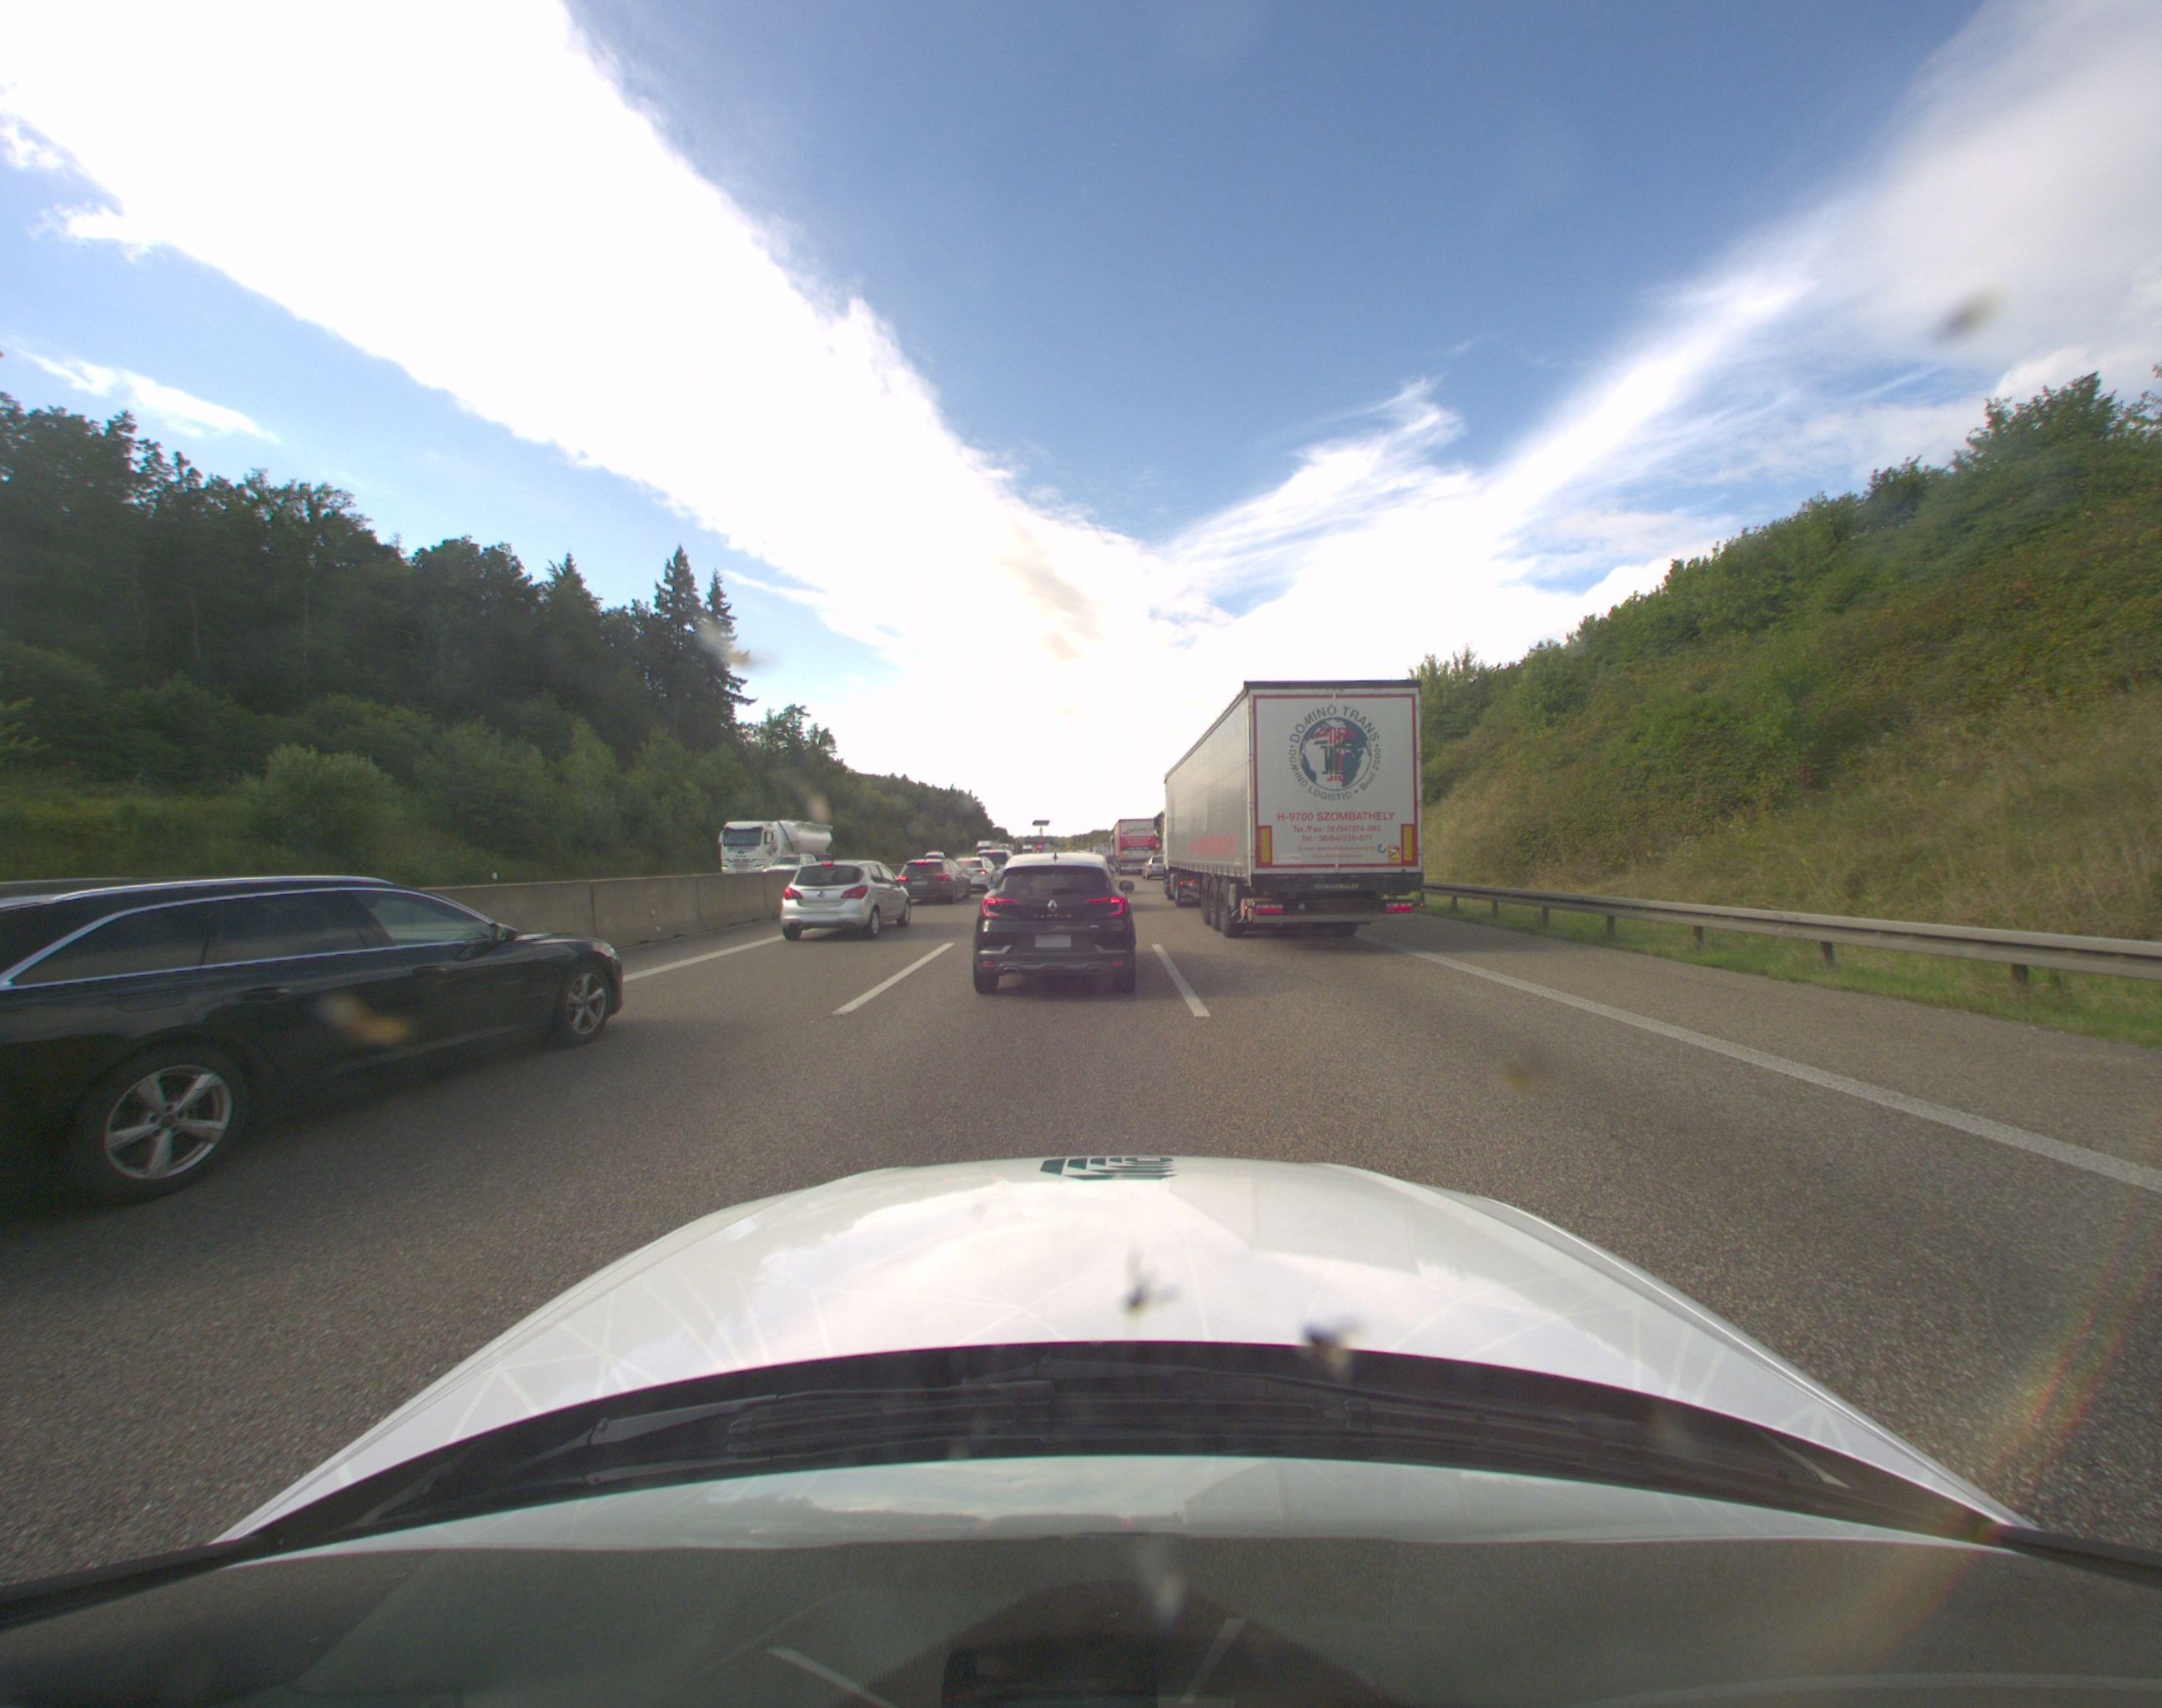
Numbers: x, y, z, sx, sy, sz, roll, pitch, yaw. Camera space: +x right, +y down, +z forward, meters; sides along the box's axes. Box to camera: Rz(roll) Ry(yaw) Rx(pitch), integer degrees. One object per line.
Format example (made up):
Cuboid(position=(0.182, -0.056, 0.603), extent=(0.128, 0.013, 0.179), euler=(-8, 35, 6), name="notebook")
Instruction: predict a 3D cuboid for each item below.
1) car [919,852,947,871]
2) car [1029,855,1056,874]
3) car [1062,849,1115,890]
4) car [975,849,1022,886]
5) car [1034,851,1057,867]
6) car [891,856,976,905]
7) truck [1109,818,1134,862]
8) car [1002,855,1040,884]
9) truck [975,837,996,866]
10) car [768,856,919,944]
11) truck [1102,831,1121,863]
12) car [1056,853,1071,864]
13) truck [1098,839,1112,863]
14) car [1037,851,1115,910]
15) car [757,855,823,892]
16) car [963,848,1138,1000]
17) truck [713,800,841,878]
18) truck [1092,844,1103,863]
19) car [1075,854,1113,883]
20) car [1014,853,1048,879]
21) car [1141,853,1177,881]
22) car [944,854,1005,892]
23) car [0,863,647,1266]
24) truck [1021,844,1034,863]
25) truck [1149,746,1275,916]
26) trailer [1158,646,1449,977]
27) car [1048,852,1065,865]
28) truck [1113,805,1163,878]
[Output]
Cuboid(position=(-14.031, 0.669, 77.509), extent=(1.846, 1.712, 4.324), euler=(0, 0, 1), name="car")
Cuboid(position=(-3.312, 0.923, 70.753), extent=(1.986, 1.613, 4.001), euler=(0, -1, 1), name="car")
Cuboid(position=(0.324, 0.592, 32.493), extent=(1.986, 1.514, 4.001), euler=(0, -1, 1), name="car")
Cuboid(position=(-4.090, 0.668, 41.153), extent=(1.905, 1.789, 4.417), euler=(0, -1, 0), name="car")
Cuboid(position=(-3.524, 0.469, 81.882), extent=(1.986, 1.613, 4.001), euler=(0, 0, 1), name="car")
Cuboid(position=(-4.796, 0.811, 27.154), extent=(1.836, 1.456, 4.749), euler=(0, 0, 1), name="car")
Cuboid(position=(5.290, -1.731, 109.205), extent=(3.155, 5.505, 12.742), euler=(0, -1, 2), name="truck")
Cuboid(position=(-3.563, 0.923, 49.178), extent=(1.848, 1.641, 3.927), euler=(0, -1, 2), name="car")
Cuboid(position=(-17.769, -0.367, 151.882), extent=(3.029, 5.253, 6.883), euler=(0, -1, 1), name="truck")
Cuboid(position=(-4.551, 0.814, 16.275), extent=(1.741, 1.465, 4.041), euler=(-1, 0, 1), name="car")
Cuboid(position=(5.493, -1.108, 145.779), extent=(3.153, 5.505, 12.747), euler=(0, -1, 3), name="truck")
Cuboid(position=(-2.597, 0.644, 118.961), extent=(1.986, 1.613, 4.001), euler=(0, 0, 1), name="car")
Cuboid(position=(5.345, -0.597, 180.429), extent=(3.155, 5.159, 12.742), euler=(0, -1, 2), name="truck")
Cuboid(position=(-0.068, 0.702, 22.880), extent=(1.986, 1.514, 4.001), euler=(0, -1, 1), name="car")
Cuboid(position=(-15.255, 0.972, 42.941), extent=(1.846, 1.810, 4.324), euler=(0, 0, 1), name="car")
Cuboid(position=(-0.204, 0.733, 10.453), extent=(1.797, 1.552, 4.003), euler=(-1, 0, 3), name="car")
Cuboid(position=(-19.034, -0.791, 52.476), extent=(2.922, 4.354, 13.910), euler=(0, -1, 0), name="truck")
Cuboid(position=(5.170, -0.113, 246.250), extent=(3.155, 5.505, 12.742), euler=(0, -1, 2), name="truck")
Cuboid(position=(0.751, 0.803, 45.550), extent=(1.986, 1.514, 4.001), euler=(0, -1, 1), name="car")
Cuboid(position=(-3.434, 0.801, 56.110), extent=(1.986, 1.722, 4.001), euler=(0, -1, 1), name="car")
Cuboid(position=(4.569, 0.751, 48.201), extent=(1.799, 1.533, 3.925), euler=(0, -1, 0), name="car")
Cuboid(position=(-4.395, 0.757, 34.181), extent=(1.797, 1.461, 4.310), euler=(-1, 0, 2), name="car")
Cuboid(position=(-4.962, 0.828, 4.976), extent=(1.875, 1.471, 4.854), euler=(0, 0, 2), name="car")
Cuboid(position=(-14.664, -0.069, 224.263), extent=(3.078, 5.101, 7.141), euler=(0, -1, 1), name="truck")
Cuboid(position=(3.861, -0.643, 25.437), extent=(2.987, 4.667, 5.939), euler=(-1, 0, 1), name="truck")
Cuboid(position=(3.785, -0.616, 18.187), extent=(2.992, 4.661, 13.290), euler=(0, 0, 1), name="trailer")
Cuboid(position=(-3.218, 0.542, 106.357), extent=(1.986, 1.613, 4.001), euler=(0, 0, 1), name="car")
Cuboid(position=(4.144, -0.797, 62.421), extent=(3.352, 5.044, 12.742), euler=(0, -1, 2), name="truck")
